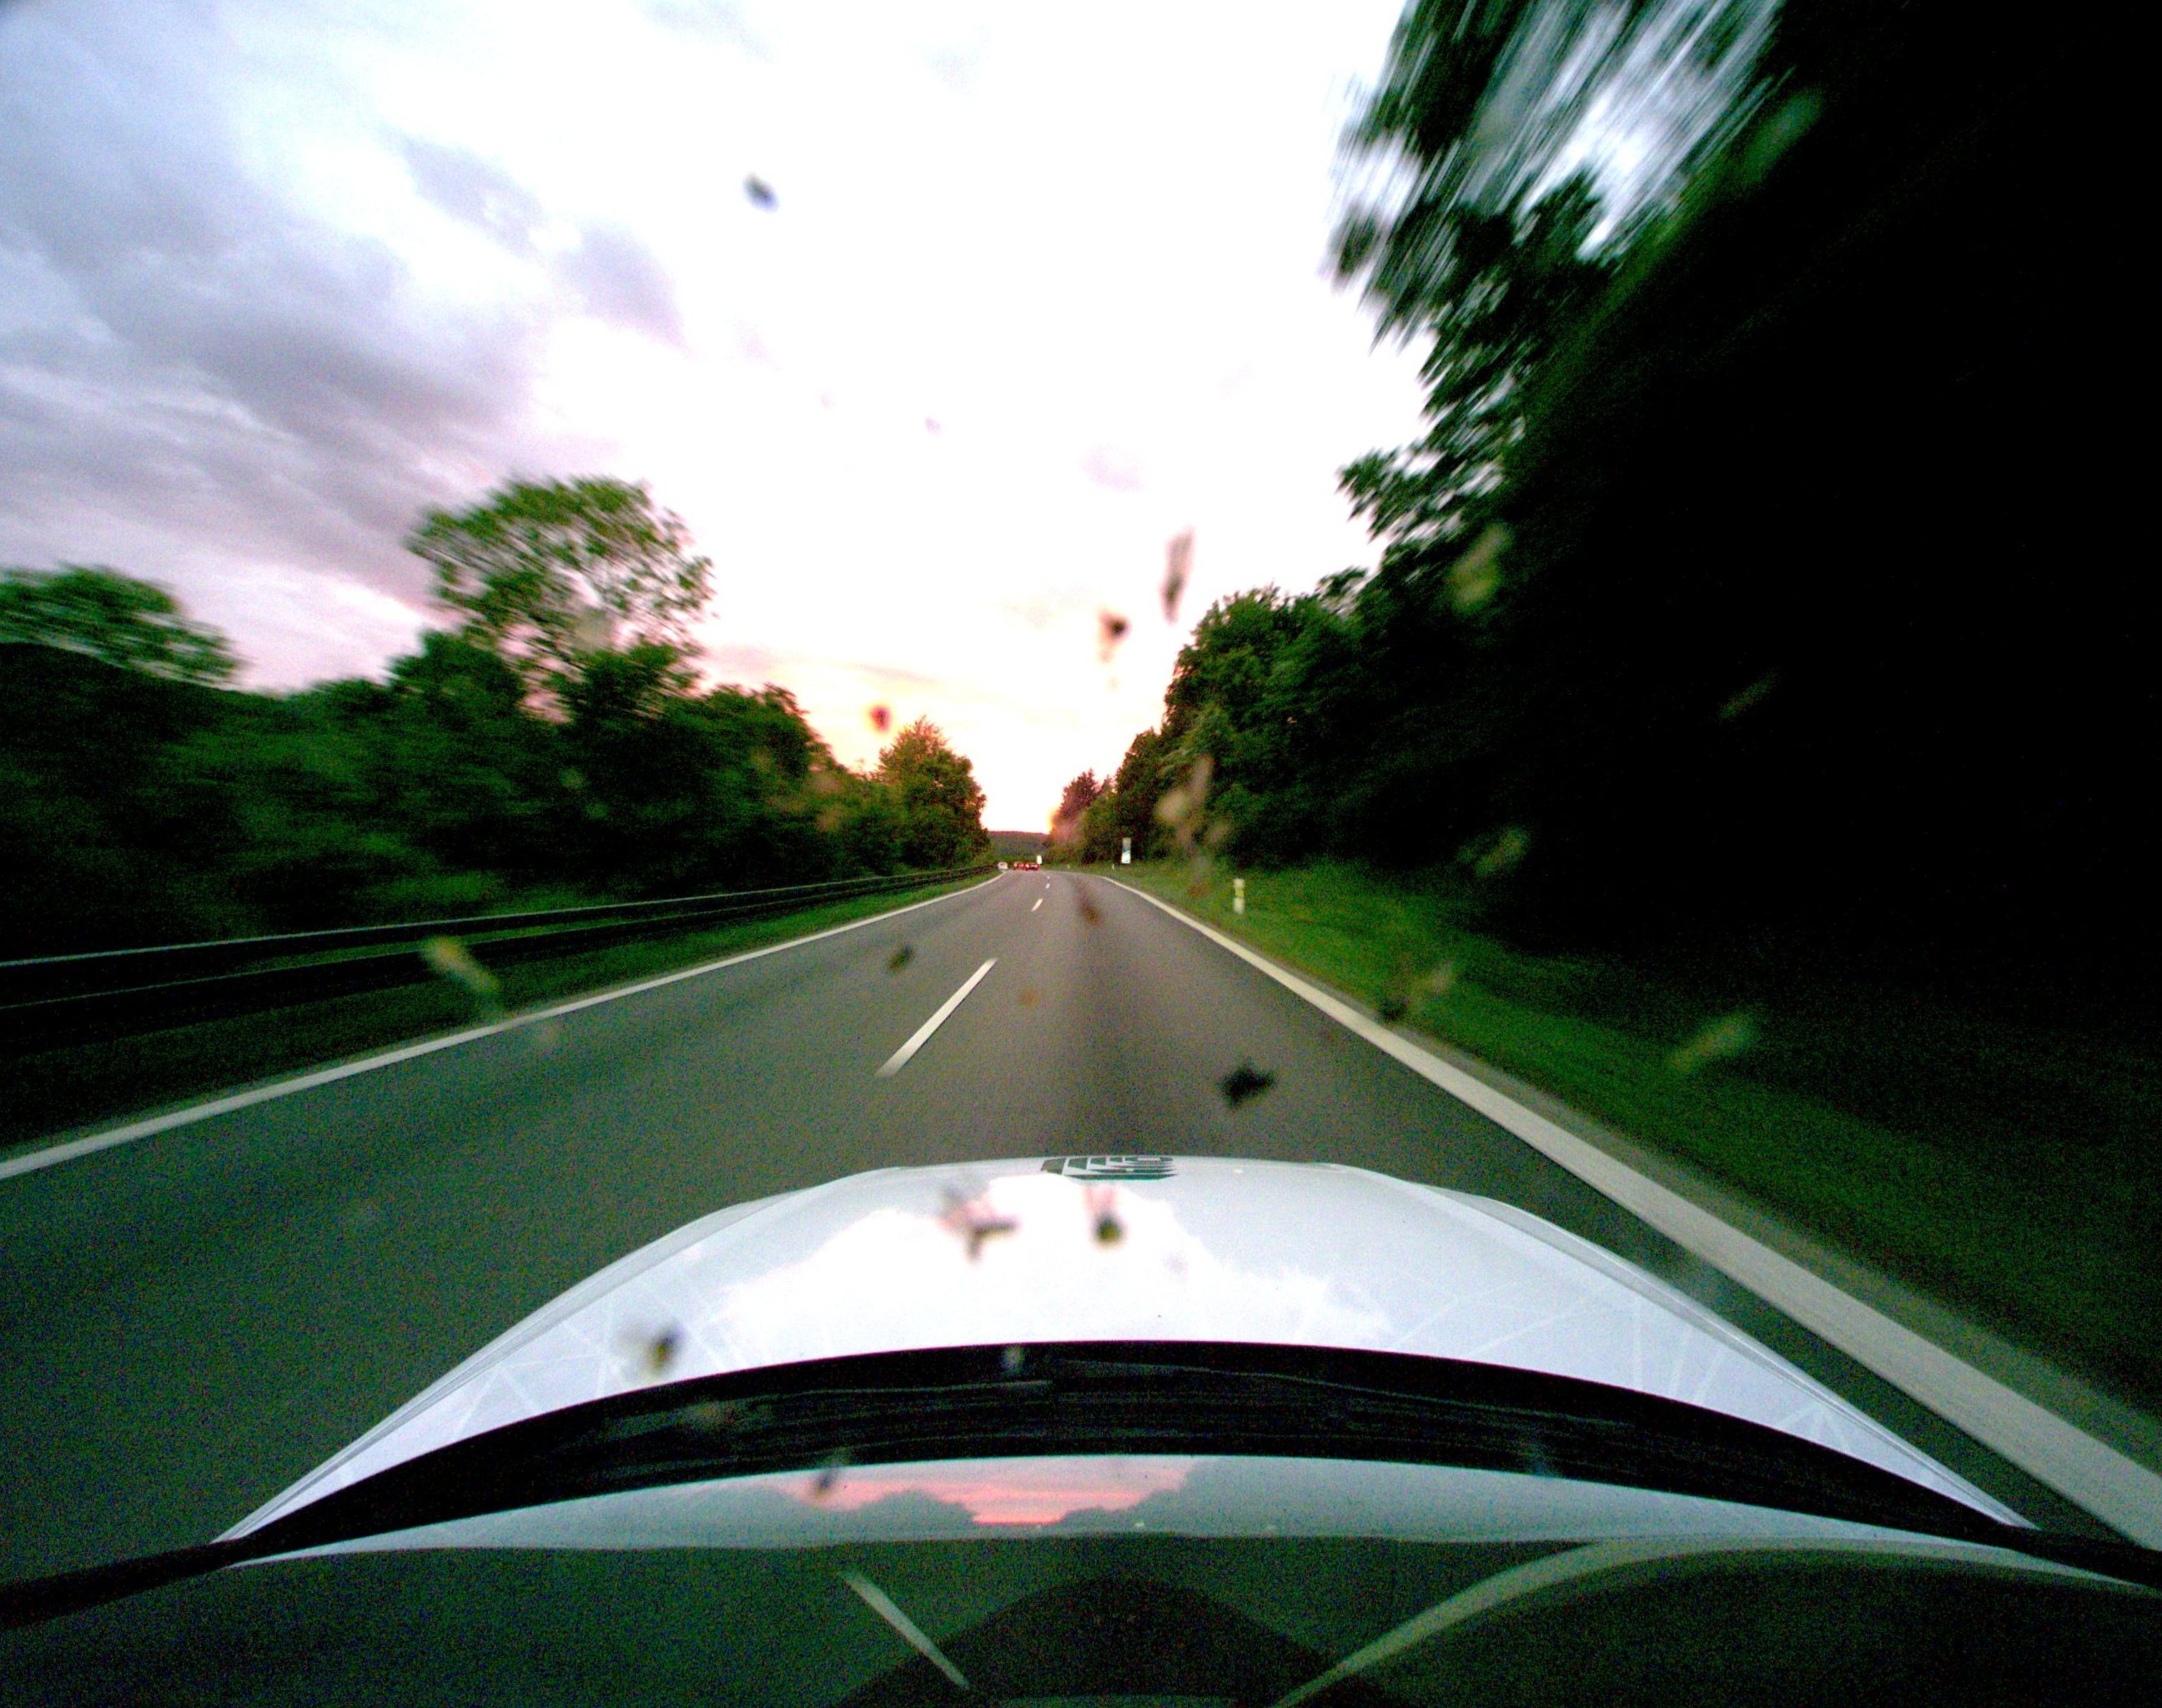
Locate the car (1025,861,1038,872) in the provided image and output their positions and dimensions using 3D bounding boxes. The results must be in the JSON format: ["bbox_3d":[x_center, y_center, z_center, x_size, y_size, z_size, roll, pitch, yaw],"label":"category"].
[{"bbox_3d":[-8.503,2.231,140.483,1.991,1.646,3.991,3,-3,-6],"label":"car"}]

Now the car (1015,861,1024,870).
[{"bbox_3d":[-12.180,2.250,160.889,1.715,1.635,3.994,-1,-1,-4],"label":"car"}]

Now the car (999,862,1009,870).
[{"bbox_3d":[-14.392,2.273,152.458,1.714,1.501,3.994,1,-2,-3],"label":"car"}]
